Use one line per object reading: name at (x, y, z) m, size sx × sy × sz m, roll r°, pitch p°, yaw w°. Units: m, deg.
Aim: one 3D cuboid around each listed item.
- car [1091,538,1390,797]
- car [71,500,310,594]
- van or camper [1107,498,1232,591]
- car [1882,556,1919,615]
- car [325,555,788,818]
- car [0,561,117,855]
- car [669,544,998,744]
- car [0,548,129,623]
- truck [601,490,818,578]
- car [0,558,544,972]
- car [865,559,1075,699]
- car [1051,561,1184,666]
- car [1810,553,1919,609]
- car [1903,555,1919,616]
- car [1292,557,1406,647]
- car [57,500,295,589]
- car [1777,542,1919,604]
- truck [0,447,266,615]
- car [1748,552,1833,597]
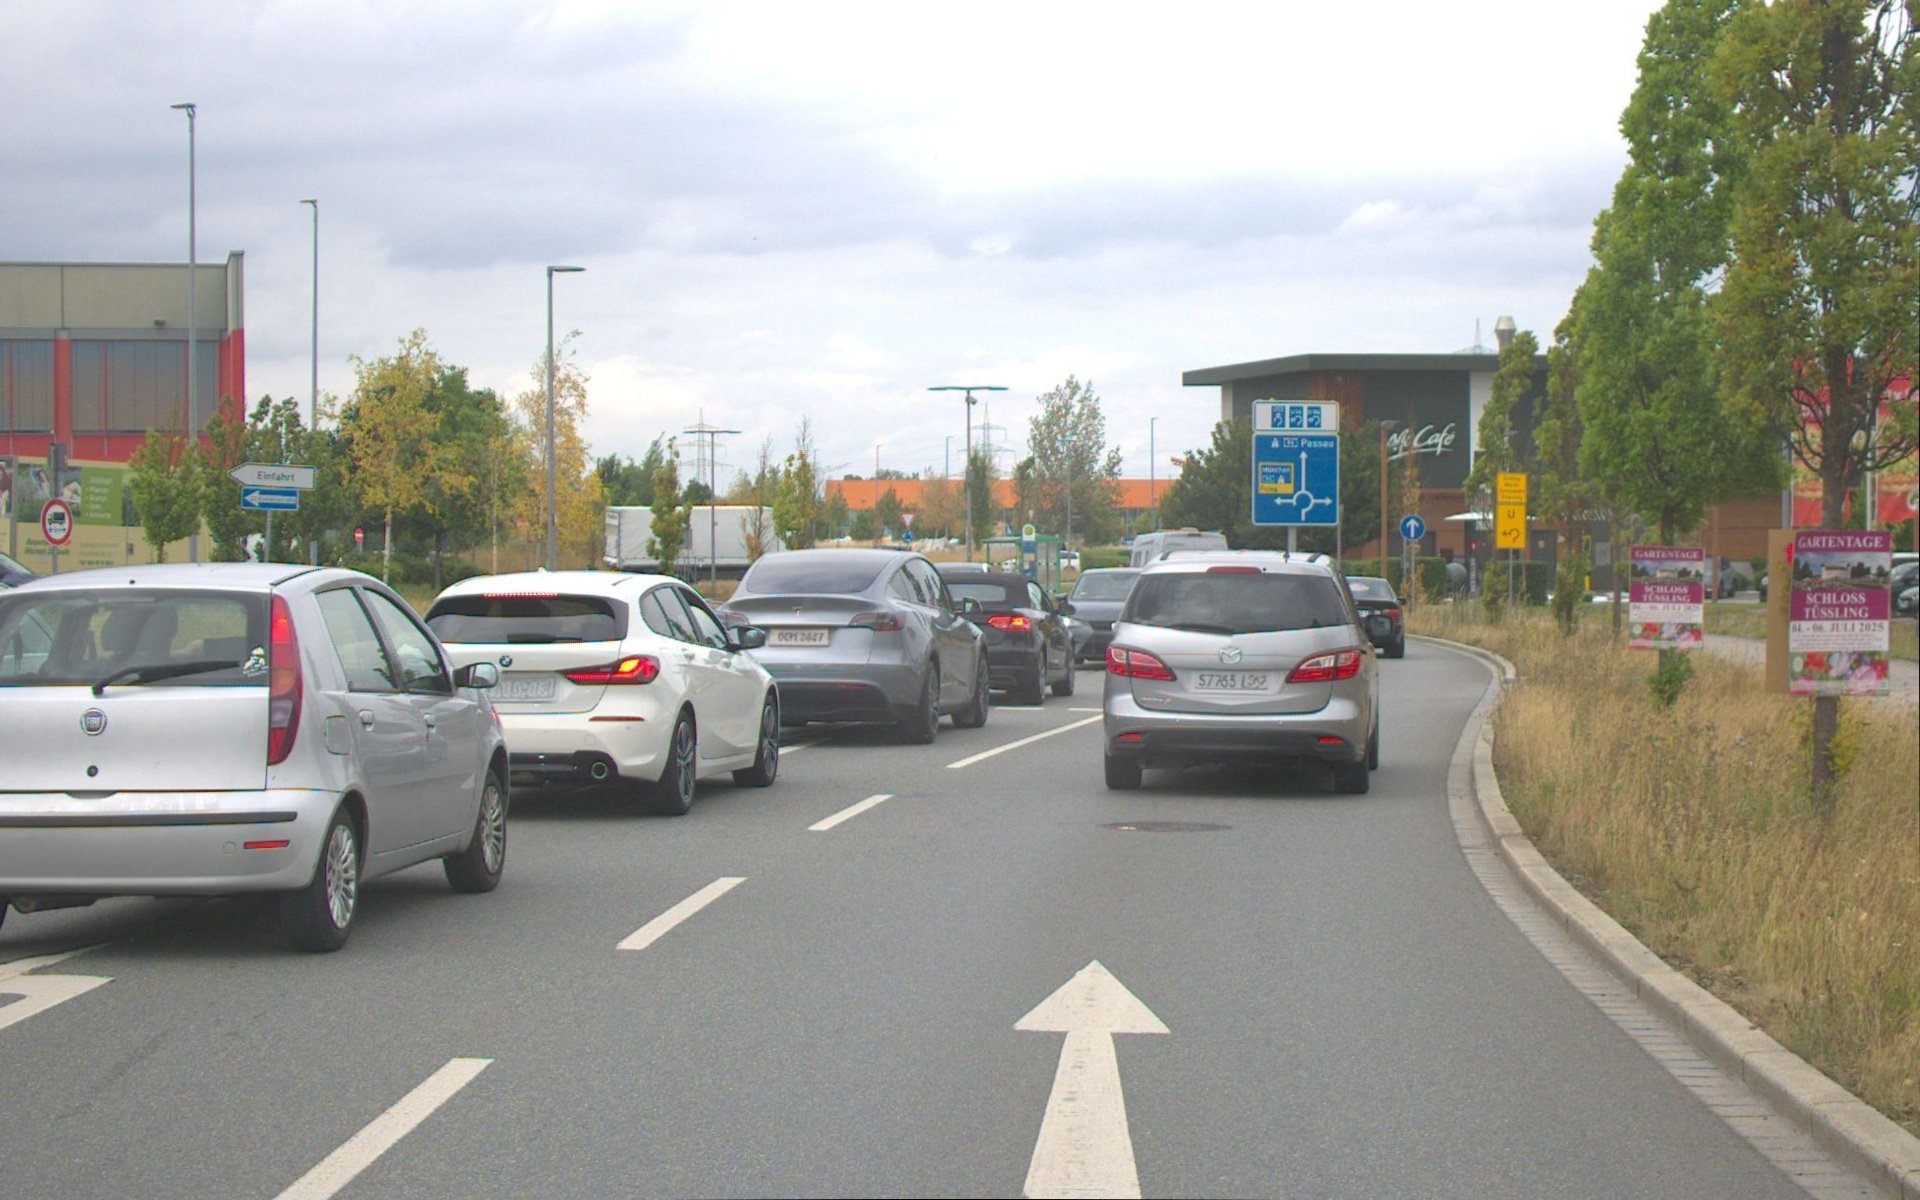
car at (2.000, 0.400, 23.593) m, size 1.730 × 1.594 × 3.805 m, roll 1°, pitch 1°, yaw 9°
car at (-21.362, -1.464, 95.678) m, size 6.406 × 2.589 × 2.244 m, roll 0°, pitch 1°, yaw -11°
van or camper at (5.788, -1.532, 95.674) m, size 2.302 × 2.497 × 5.207 m, roll 0°, pitch 1°, yaw -10°
car at (25.623, -0.396, 86.794) m, size 4.083 × 1.433 × 1.943 m, roll -1°, pitch 1°, yaw -9°
car at (-2.369, 0.465, 21.304) m, size 1.880 × 1.463 × 4.192 m, roll 0°, pitch 0°, yaw 7°
car at (-5.838, 0.584, 17.206) m, size 1.785 × 1.484 × 4.767 m, roll -1°, pitch 1°, yaw 3°
car at (-0.985, 0.308, 29.513) m, size 1.994 × 1.556 × 4.611 m, roll 0°, pitch 1°, yaw 9°
car at (-18.796, -0.293, 67.926) m, size 4.232 × 1.430 × 1.998 m, roll 0°, pitch 1°, yaw 2°
truck at (-11.371, -2.996, 156.003) m, size 9.302 × 3.893 × 3.144 m, roll -1°, pitch 1°, yaw -19°
car at (-2.998, 0.563, 14.287) m, size 1.702 × 1.433 × 4.032 m, roll 0°, pitch 1°, yaw 5°
car at (0.170, 0.290, 37.314) m, size 1.769 × 1.433 × 4.230 m, roll 0°, pitch 0°, yaw 7°
car at (2.280, 0.162, 49.456) m, size 1.829 × 1.415 × 4.245 m, roll 0°, pitch 1°, yaw 3°
car at (25.227, -0.524, 91.735) m, size 4.466 × 1.431 × 2.074 m, roll -1°, pitch 1°, yaw -10°
car at (25.551, -0.362, 83.816) m, size 4.516 × 1.464 × 2.033 m, roll 0°, pitch 1°, yaw -7°
car at (6.548, 0.012, 57.914) m, size 1.845 × 1.413 × 4.224 m, roll 0°, pitch 1°, yaw 6°
car at (-20.638, -1.447, 90.702) m, size 6.067 × 2.299 × 2.211 m, roll 0°, pitch 1°, yaw -12°
car at (24.824, -0.750, 94.223) m, size 4.346 × 1.634 × 1.938 m, roll -1°, pitch 1°, yaw -13°
truck at (-19.254, -1.522, 76.712) m, size 2.853 × 3.529 × 8.417 m, roll 1°, pitch 1°, yaw 26°
car at (25.482, -0.789, 105.363) m, size 1.813 × 1.308 × 3.844 m, roll 0°, pitch 1°, yaw 25°
